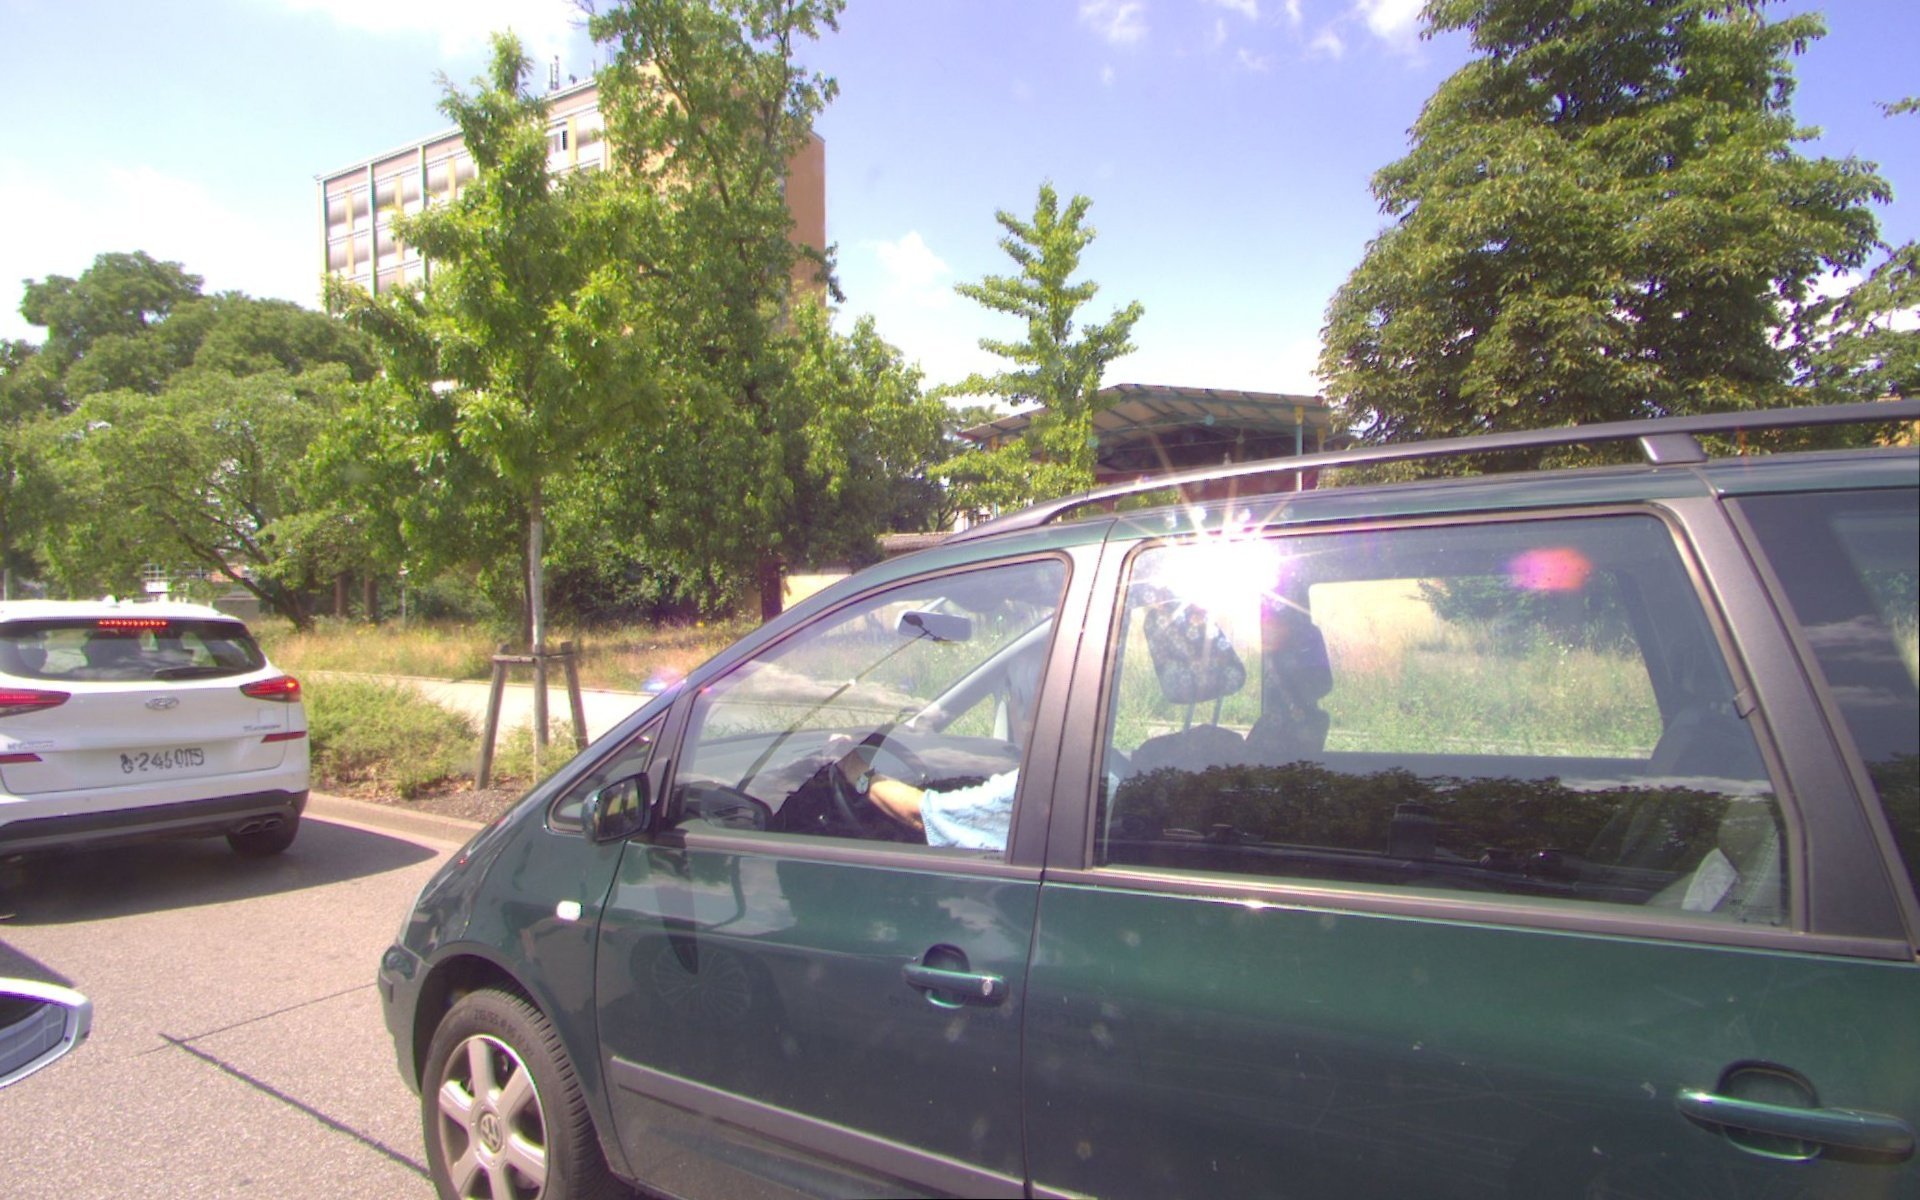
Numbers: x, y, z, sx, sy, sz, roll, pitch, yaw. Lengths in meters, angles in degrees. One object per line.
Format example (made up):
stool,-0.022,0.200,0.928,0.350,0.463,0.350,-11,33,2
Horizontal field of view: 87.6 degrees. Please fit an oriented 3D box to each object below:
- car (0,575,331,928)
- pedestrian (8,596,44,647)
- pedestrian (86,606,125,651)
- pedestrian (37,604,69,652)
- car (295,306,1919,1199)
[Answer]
car,-5.948,0.750,6.464,3.945,1.710,1.793,0,0,34
pedestrian,-38.932,0.889,41.749,0.727,2.085,0.846,0,0,14
pedestrian,-30.071,0.986,35.228,0.823,1.559,0.843,0,0,32
pedestrian,-39.155,1.183,43.235,0.730,2.040,0.843,0,0,32
car,0.507,0.617,2.317,4.325,1.757,1.809,0,-1,32
